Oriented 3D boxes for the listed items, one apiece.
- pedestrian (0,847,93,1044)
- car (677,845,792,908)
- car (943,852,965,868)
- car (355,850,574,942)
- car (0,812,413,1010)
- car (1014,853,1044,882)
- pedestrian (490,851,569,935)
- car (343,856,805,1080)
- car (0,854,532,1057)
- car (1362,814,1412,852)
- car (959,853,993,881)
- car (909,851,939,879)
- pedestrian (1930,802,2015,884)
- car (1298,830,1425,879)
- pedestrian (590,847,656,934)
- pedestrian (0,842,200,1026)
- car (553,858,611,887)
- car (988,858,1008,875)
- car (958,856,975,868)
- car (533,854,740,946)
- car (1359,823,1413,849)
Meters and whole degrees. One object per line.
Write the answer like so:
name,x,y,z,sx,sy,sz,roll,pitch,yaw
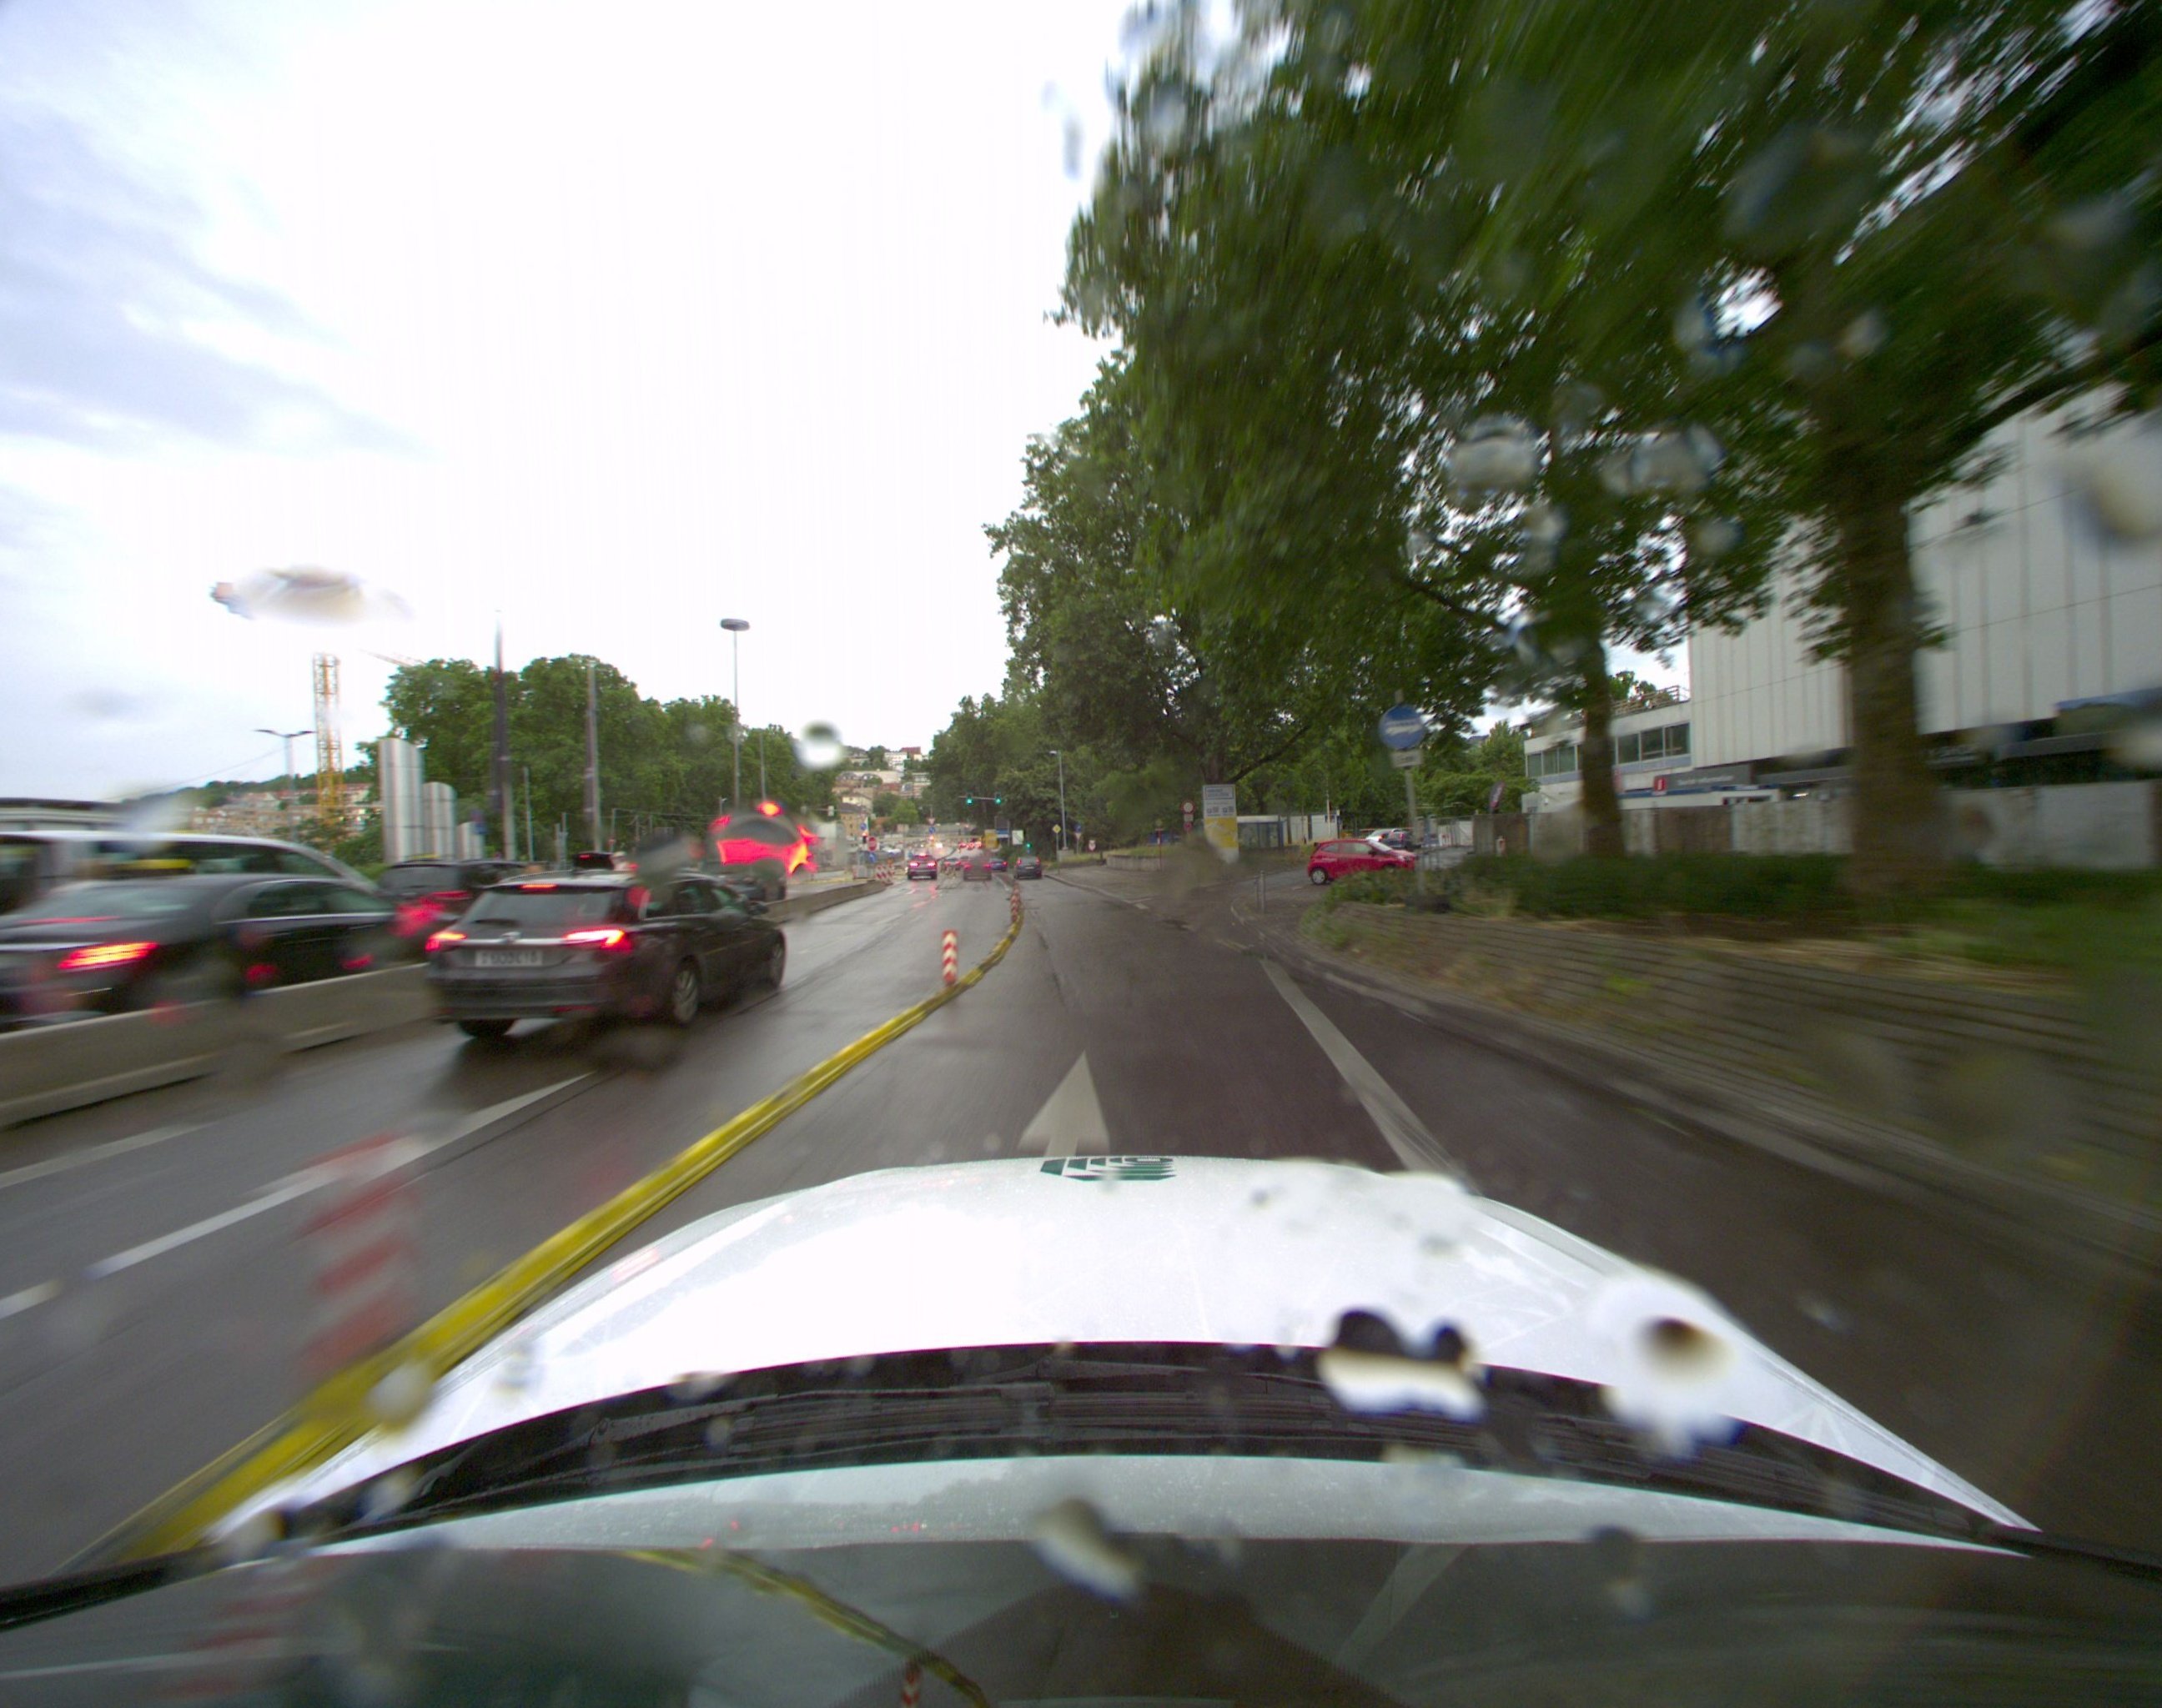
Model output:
pedestrian,-9.747,0.795,7.163,1.021,1.675,0.836,-2,0,1
car,-9.728,0.594,23.213,1.993,1.530,4.139,-3,0,-9
car,-14.297,0.710,91.840,1.900,1.717,3.995,-1,0,-3
car,-12.421,0.758,16.774,1.712,1.629,4.047,-1,0,-6
car,-11.939,0.605,10.892,1.991,2.013,5.358,-1,0,-6
car,-3.316,0.837,52.374,1.847,1.717,3.995,-1,0,-3
pedestrian,-11.550,0.802,17.075,0.826,1.682,1.033,-2,0,22
car,-4.451,0.817,8.282,1.874,1.508,4.845,-2,0,-4
car,-8.444,0.782,8.608,1.967,1.511,5.002,-1,0,-1
car,17.595,-1.135,46.676,2.107,2.013,4.677,-1,0,27
car,-7.008,0.842,54.700,1.826,1.686,4.130,-2,0,-3
car,-11.198,0.767,58.060,1.994,1.827,3.985,-1,0,-11
pedestrian,16.908,-0.206,15.468,0.547,1.468,0.926,-3,0,4
car,9.207,0.040,26.848,3.572,1.506,1.745,-1,0,37
pedestrian,-10.974,0.866,19.525,1.016,2.013,0.840,-2,0,17
pedestrian,-10.235,0.783,8.527,0.830,1.783,1.028,-2,0,1
car,-51.170,1.831,83.712,2.377,2.701,5.786,-3,0,-1
car,-8.028,1.245,79.361,1.670,1.581,3.237,-1,0,-2
car,-15.618,1.095,111.193,1.639,1.624,3.772,-1,0,-18
car,-9.152,0.848,17.351,1.990,1.567,4.867,-3,0,-5
car,21.818,-1.253,58.099,1.926,1.781,4.481,-1,0,45
